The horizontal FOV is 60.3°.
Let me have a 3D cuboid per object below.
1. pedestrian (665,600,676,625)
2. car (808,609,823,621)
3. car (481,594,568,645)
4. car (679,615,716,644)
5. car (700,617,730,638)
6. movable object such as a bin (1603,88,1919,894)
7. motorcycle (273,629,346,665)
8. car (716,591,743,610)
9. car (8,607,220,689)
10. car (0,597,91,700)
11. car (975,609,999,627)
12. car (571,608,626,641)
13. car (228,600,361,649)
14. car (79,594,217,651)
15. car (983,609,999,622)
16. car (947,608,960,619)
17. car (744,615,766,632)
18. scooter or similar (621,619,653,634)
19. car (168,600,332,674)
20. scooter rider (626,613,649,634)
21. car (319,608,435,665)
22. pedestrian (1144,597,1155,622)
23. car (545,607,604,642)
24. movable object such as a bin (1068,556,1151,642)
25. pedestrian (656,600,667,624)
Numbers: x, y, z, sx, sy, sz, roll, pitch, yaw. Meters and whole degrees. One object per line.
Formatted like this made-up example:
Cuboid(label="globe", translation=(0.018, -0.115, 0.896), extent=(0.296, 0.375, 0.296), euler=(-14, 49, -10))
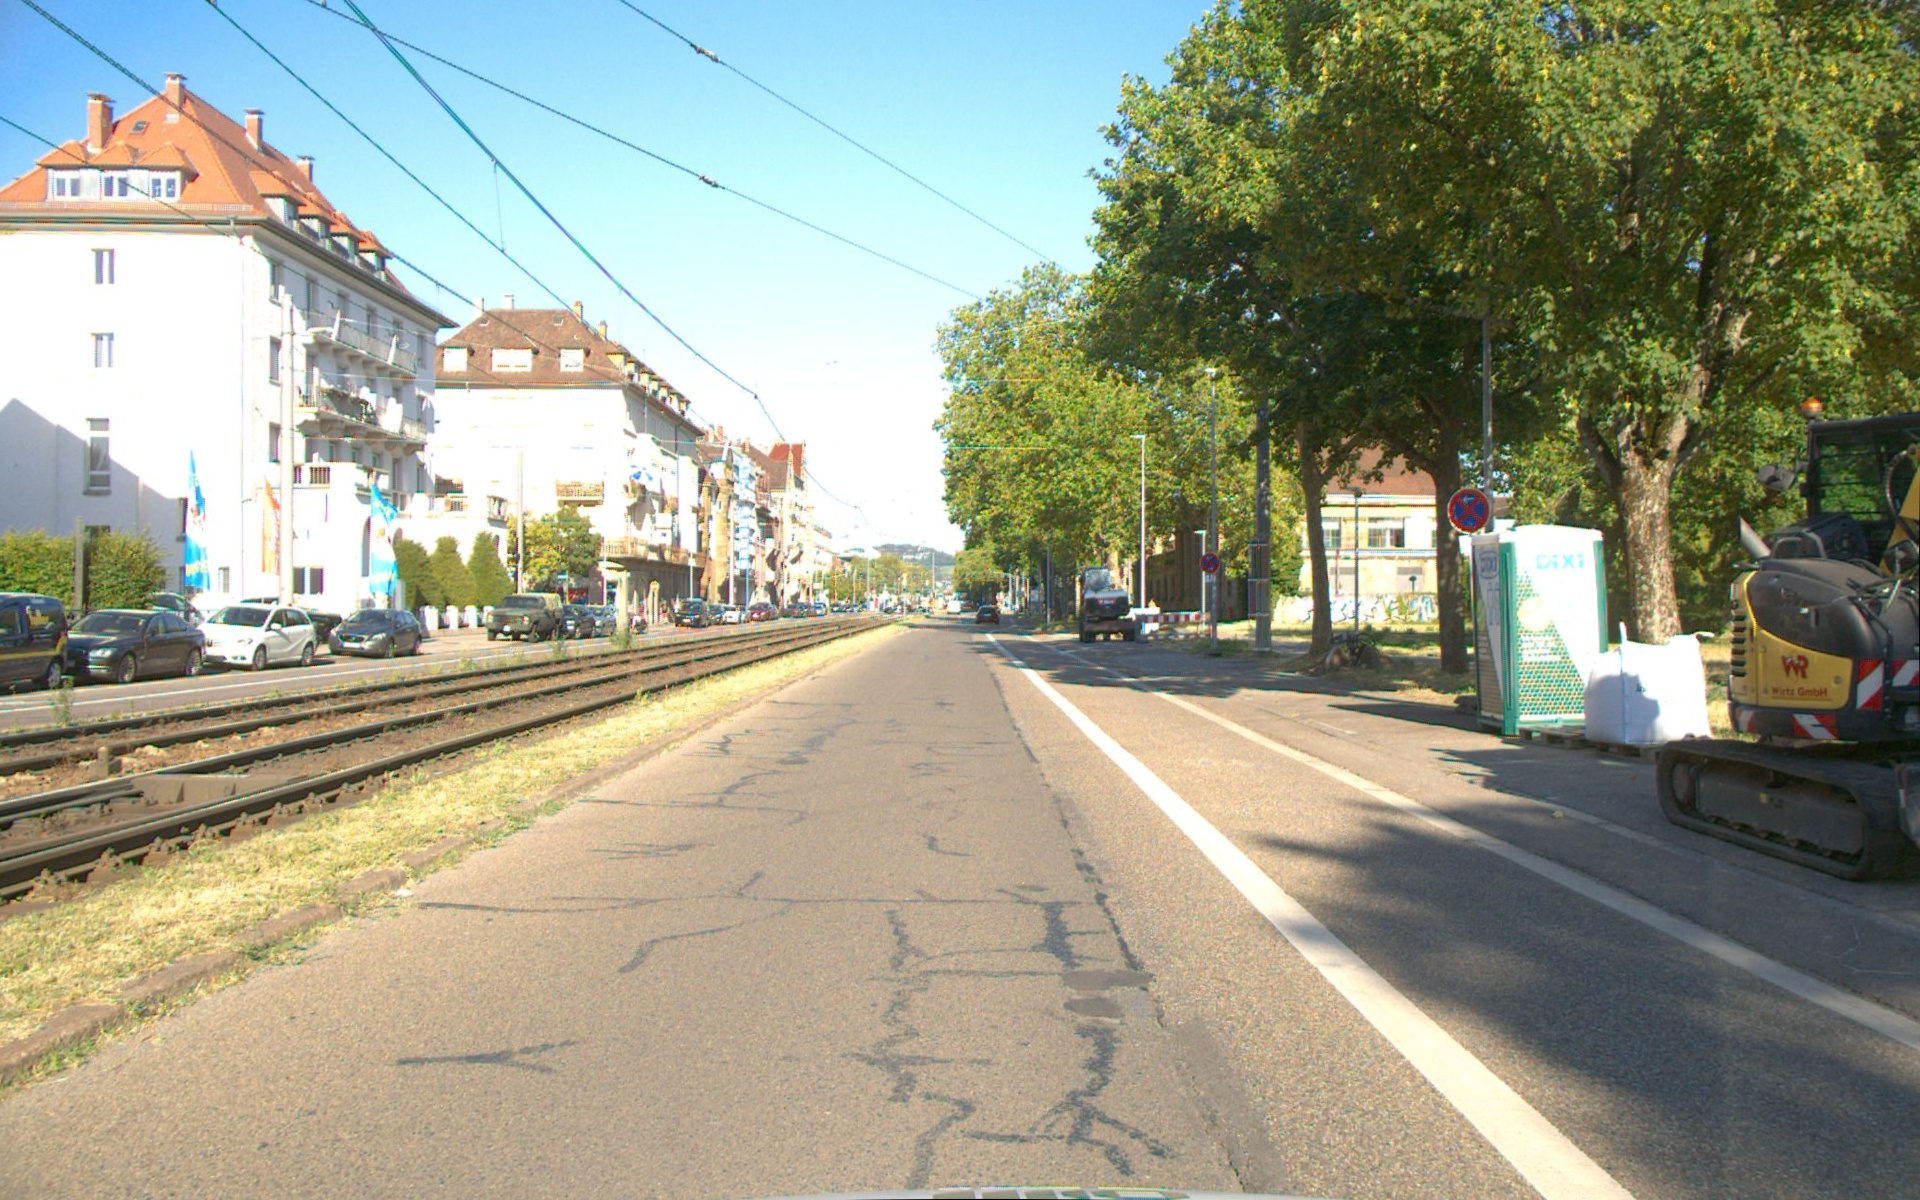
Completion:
Cuboid(label="pedestrian", translation=(-20.990, 0.910, 120.033), extent=(0.577, 1.726, 0.857), euler=(2, -1, 2))
Cuboid(label="car", translation=(-19.080, 1.966, 218.532), extent=(1.759, 1.536, 3.996), euler=(3, 0, -5))
Cuboid(label="car", translation=(-18.454, 0.817, 70.385), extent=(2.034, 2.045, 5.592), euler=(2, 0, 2))
Cuboid(label="car", translation=(-18.019, 1.988, 113.724), extent=(1.825, 1.817, 4.400), euler=(2, 0, -1))
Cuboid(label="car", translation=(-18.402, 2.070, 124.540), extent=(1.602, 1.494, 4.158), euler=(3, 0, -1))
Cuboid(label="movable object such as a bin", translation=(6.478, -0.599, 8.133), extent=(3.271, 4.045, 7.595), euler=(-3, 0, -2))
Cuboid(label="motorcycle", translation=(-18.333, 1.317, 46.653), extent=(0.808, 0.971, 2.153), euler=(1, -1, 14))
Cuboid(label="car", translation=(-19.409, 0.021, 139.307), extent=(1.601, 1.494, 4.159), euler=(1, 0, 0))
Cuboid(label="car", translation=(-18.001, 0.977, 35.501), extent=(1.881, 1.588, 4.843), euler=(1, 0, 2))
Cuboid(label="car", translation=(-18.031, 0.857, 30.254), extent=(1.881, 1.812, 4.497), euler=(1, 0, -1))
Cuboid(label="car", translation=(2.175, 1.451, 135.369), extent=(1.796, 1.415, 4.158), euler=(1, -1, -1))
Cuboid(label="car", translation=(-17.994, 1.218, 82.422), extent=(1.757, 1.537, 4.000), euler=(2, -1, 1))
Cuboid(label="car", translation=(-24.200, 0.883, 60.177), extent=(4.040, 1.662, 1.953), euler=(0, 1, 9))
Cuboid(label="car", translation=(-25.447, 0.745, 52.018), extent=(1.864, 1.684, 4.563), euler=(-1, -2, 3))
Cuboid(label="car", translation=(3.662, 1.861, 195.976), extent=(1.758, 1.537, 3.999), euler=(1, -1, -1))
Cuboid(label="car", translation=(-0.974, 1.923, 238.208), extent=(1.758, 1.537, 3.999), euler=(2, -1, -1))
Cuboid(label="car", translation=(-18.774, 2.140, 151.601), extent=(1.798, 1.415, 4.031), euler=(3, -1, -5))
Cuboid(label="scooter or similar", translation=(-17.450, 1.454, 89.366), extent=(1.536, 0.784, 0.806), euler=(-1, 0, 31))
Cuboid(label="car", translation=(-17.915, 0.902, 42.015), extent=(1.881, 1.724, 4.843), euler=(1, 0, 2))
Cuboid(label="scooter rider", translation=(-17.416, 1.248, 89.350), extent=(0.958, 1.108, 0.806), euler=(-1, 0, 31))
Cuboid(label="car", translation=(-17.931, 1.084, 51.147), extent=(1.882, 1.486, 4.840), euler=(5, 0, -2))
Cuboid(label="pedestrian", translation=(13.258, 0.661, 115.832), extent=(0.596, 1.711, 0.636), euler=(-4, 0, -2))
Cuboid(label="car", translation=(-17.792, 1.161, 76.466), extent=(1.601, 1.534, 4.159), euler=(1, -1, 2))
Cuboid(label="movable object such as a bin", translation=(6.018, -0.036, 67.602), extent=(2.688, 3.200, 7.219), euler=(-3, 0, 1))
Cuboid(label="pedestrian", translation=(-21.674, 0.888, 120.031), extent=(0.577, 1.726, 0.857), euler=(2, -1, 2))
